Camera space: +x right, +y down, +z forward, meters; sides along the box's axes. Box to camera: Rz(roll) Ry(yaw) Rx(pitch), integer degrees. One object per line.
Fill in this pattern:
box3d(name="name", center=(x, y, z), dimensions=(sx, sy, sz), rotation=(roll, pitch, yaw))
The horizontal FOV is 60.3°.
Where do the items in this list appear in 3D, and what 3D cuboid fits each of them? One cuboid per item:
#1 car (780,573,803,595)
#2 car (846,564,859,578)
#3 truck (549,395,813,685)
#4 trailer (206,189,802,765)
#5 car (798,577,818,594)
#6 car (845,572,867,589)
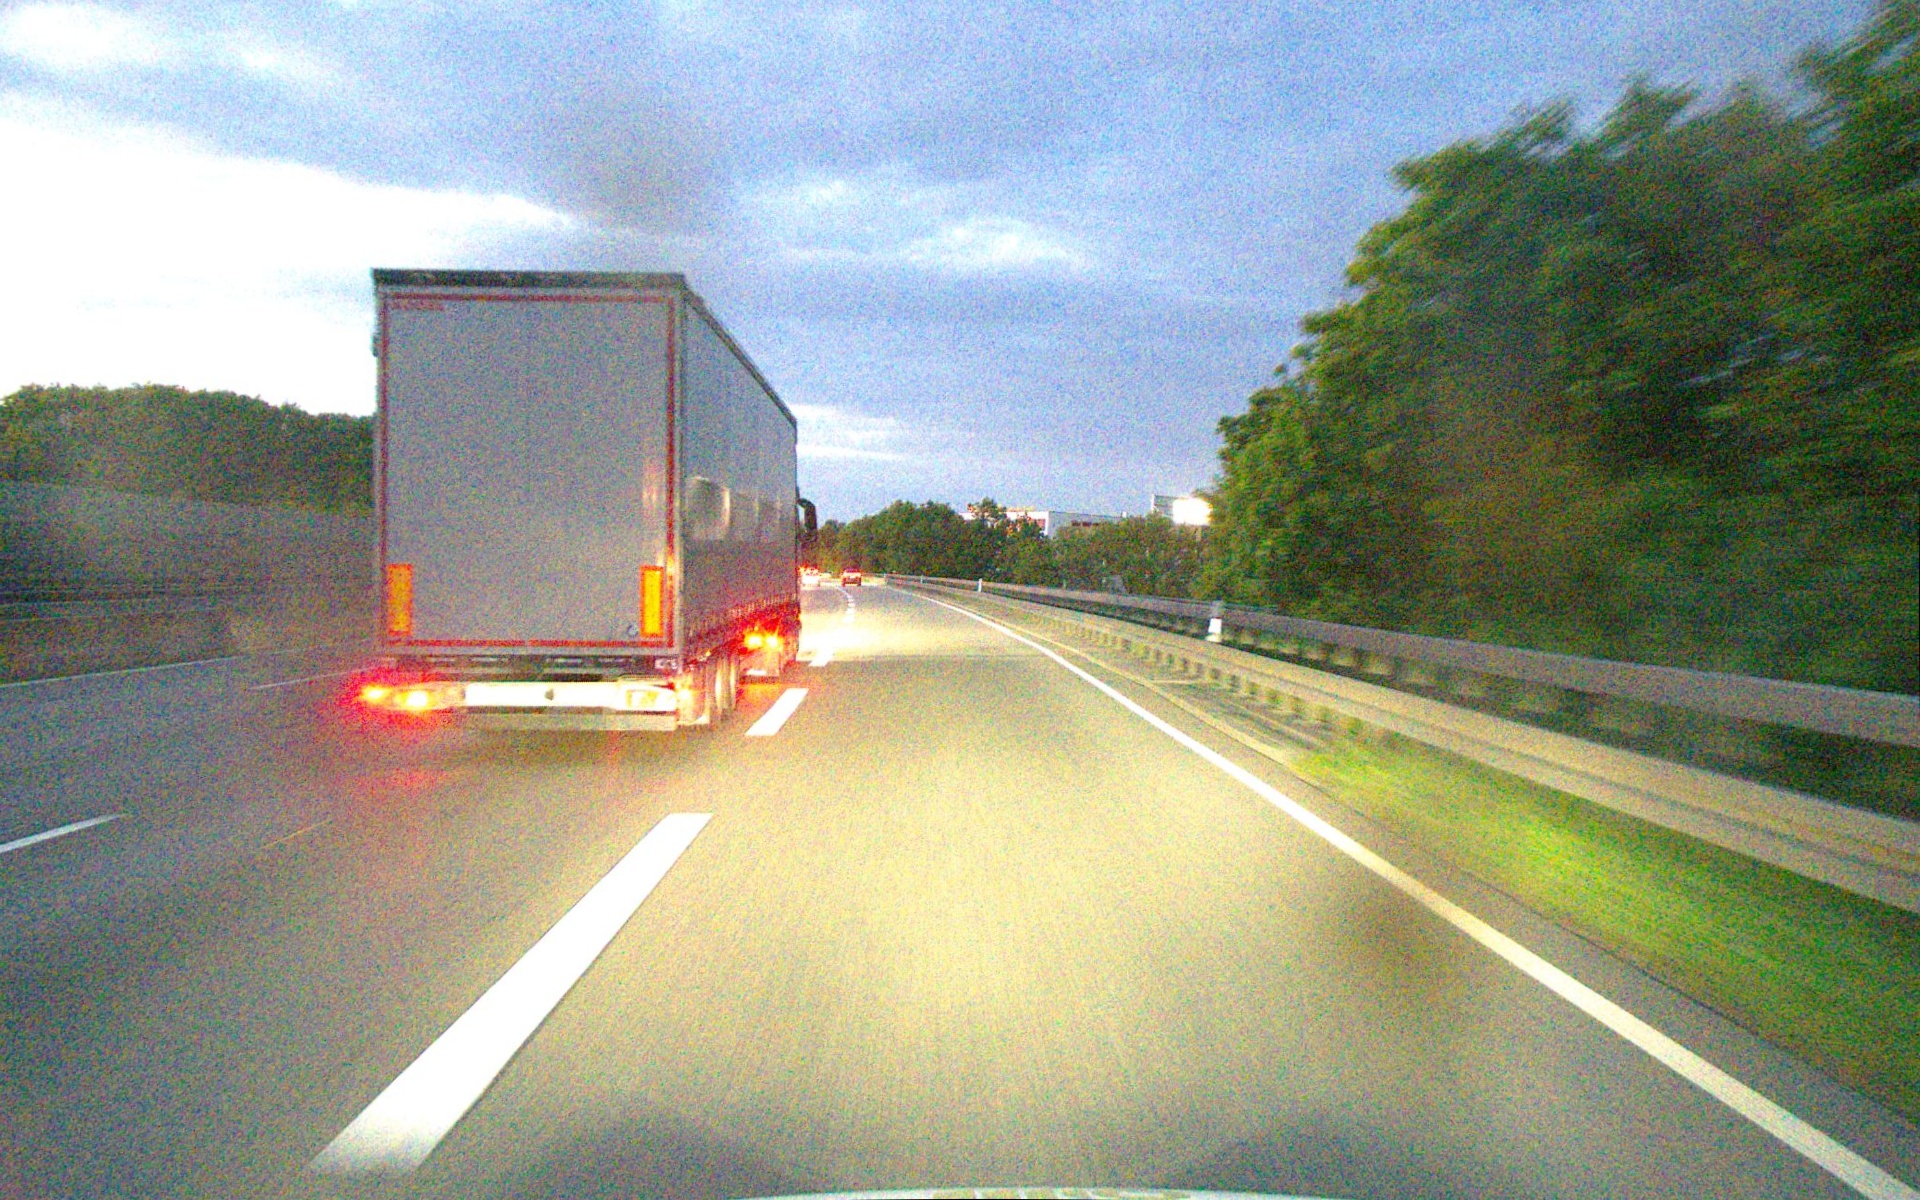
box3d(name="car", center=(-16.736, -1.581, 164.441), dimensions=(1.953, 2.049, 3.998), rotation=(1, -2, -2))
box3d(name="car", center=(-16.946, -4.572, 260.007), dimensions=(1.955, 2.049, 3.995), rotation=(1, -2, -5))
box3d(name="truck", center=(-4.278, -0.856, 26.880), dimensions=(3.479, 4.163, 6.148), rotation=(0, 0, -2))
box3d(name="trailer", center=(-4.042, -0.879, 19.645), dimensions=(3.479, 4.188, 15.055), rotation=(0, 0, -2))
box3d(name="car", center=(-14.585, -1.400, 158.898), dimensions=(1.848, 1.378, 3.995), rotation=(1, -2, -5))
box3d(name="car", center=(-10.270, -1.917, 163.074), dimensions=(1.955, 1.378, 3.995), rotation=(1, -2, -5))
